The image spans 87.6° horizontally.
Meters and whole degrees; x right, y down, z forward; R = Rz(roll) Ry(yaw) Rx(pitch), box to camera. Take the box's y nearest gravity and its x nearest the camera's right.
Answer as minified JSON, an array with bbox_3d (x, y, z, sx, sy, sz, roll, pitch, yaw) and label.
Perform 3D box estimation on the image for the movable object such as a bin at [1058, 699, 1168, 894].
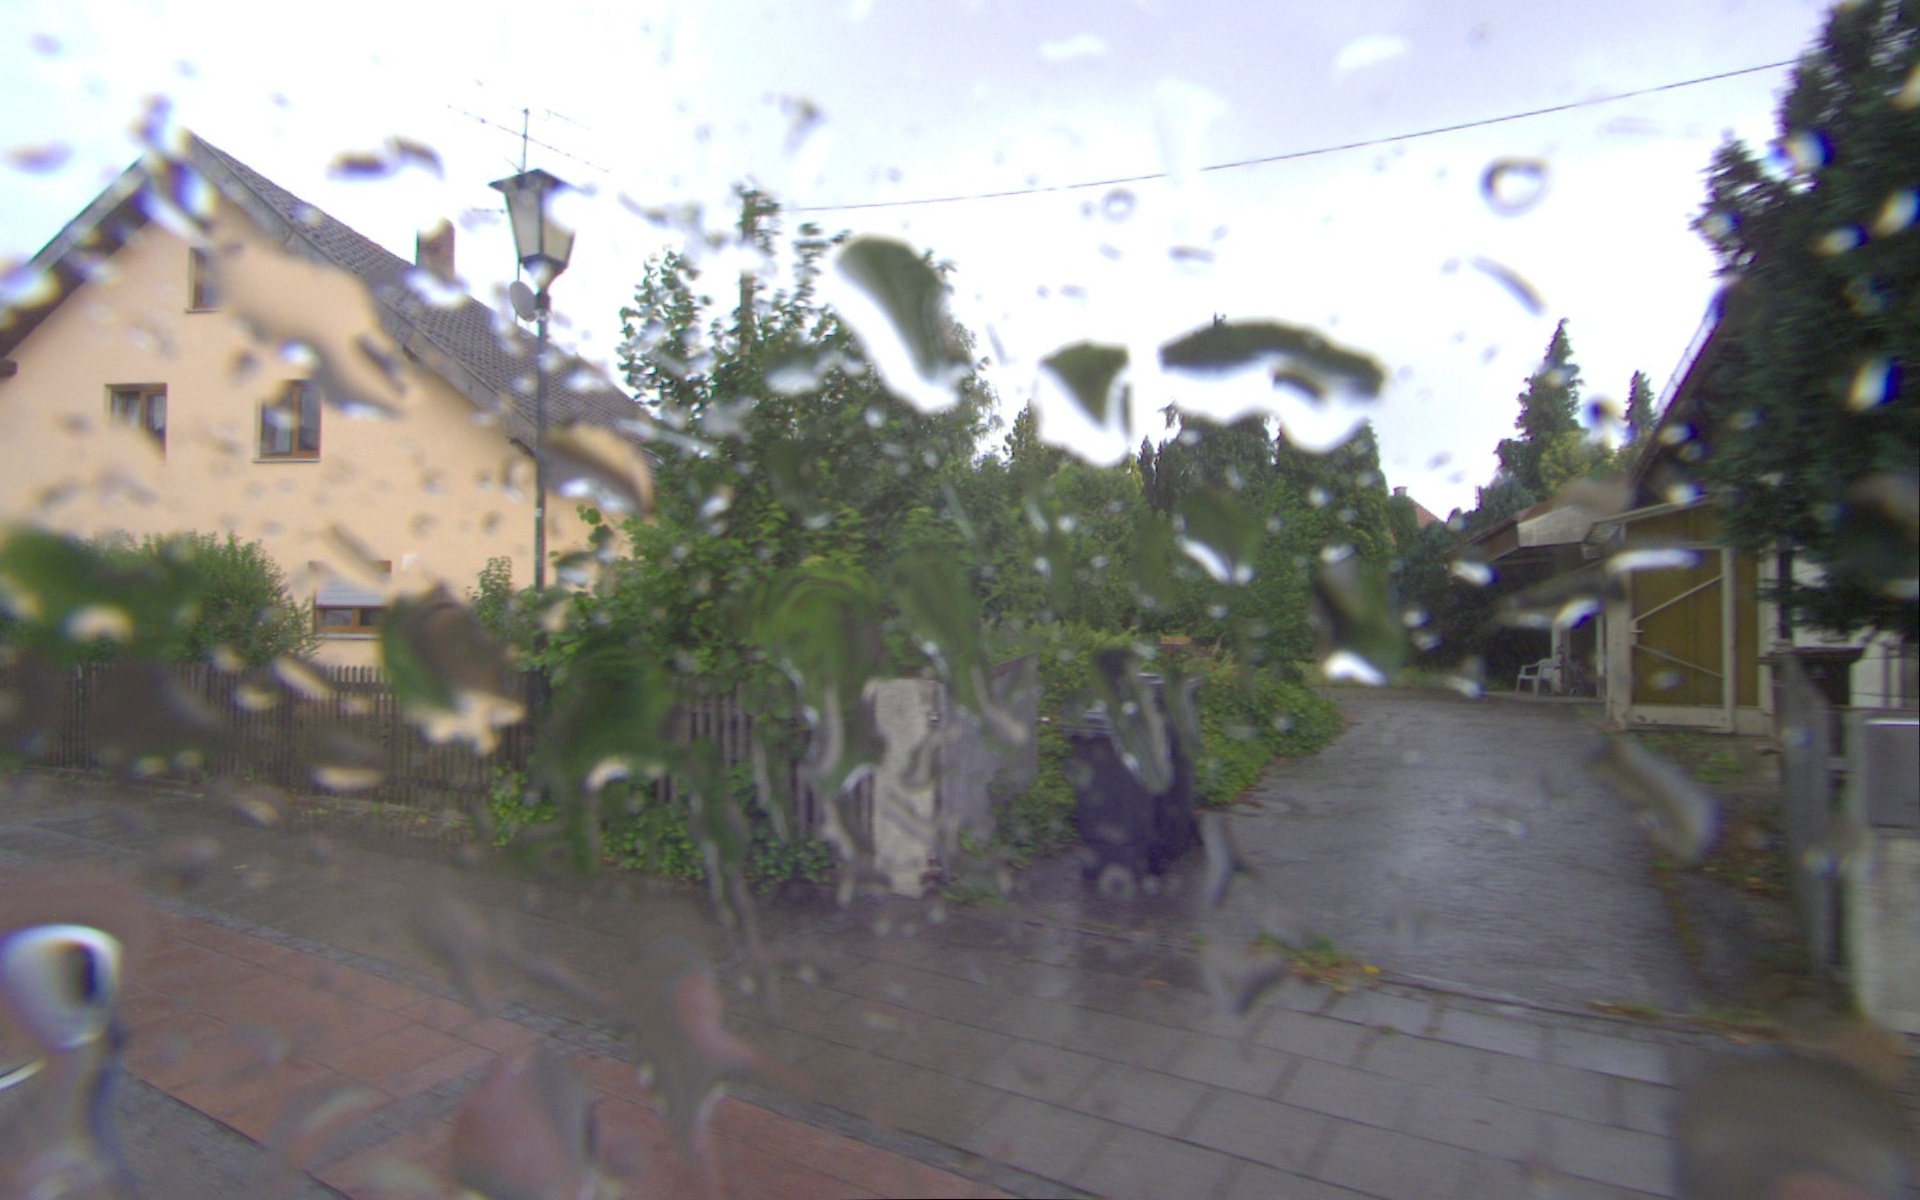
[{"bbox_3d":[0.834,1.037,5.438,0.440,0.948,0.432,-1,1,33],"label":"movable object such as a bin"}]

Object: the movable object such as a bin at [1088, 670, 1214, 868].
[{"bbox_3d":[1.145,0.969,5.964,0.545,1.054,0.574,-1,1,33],"label":"movable object such as a bin"}]
